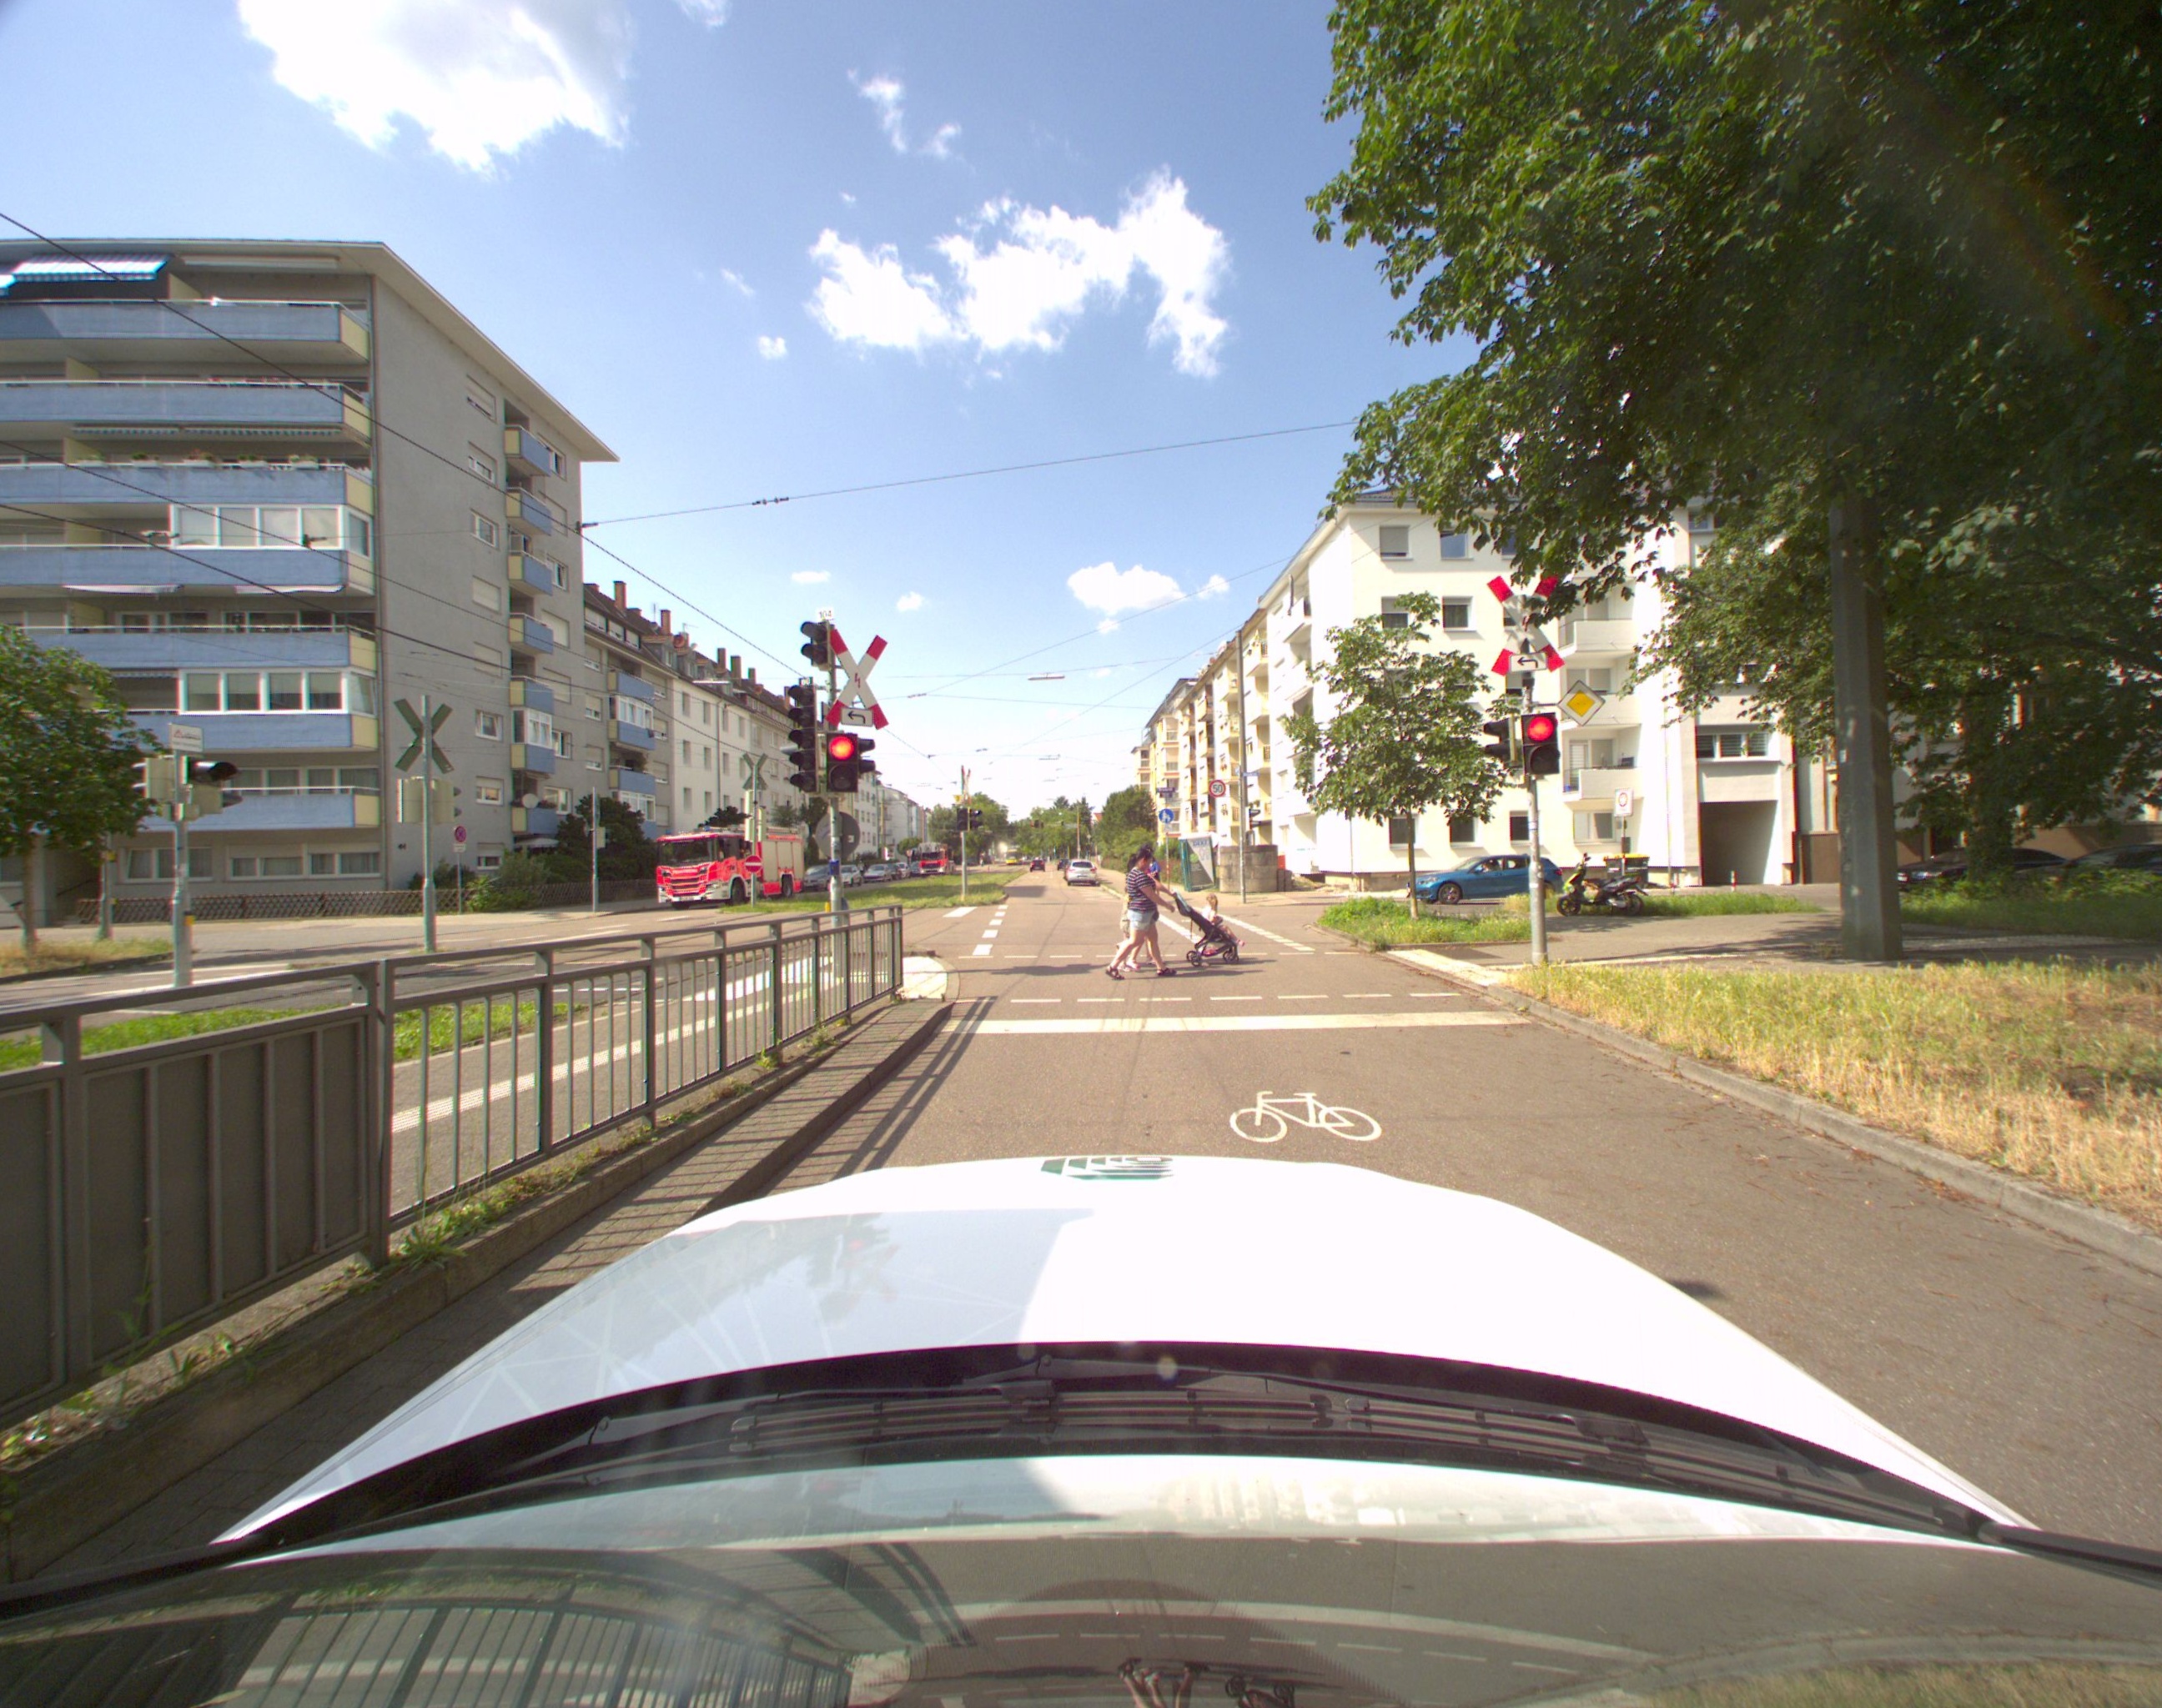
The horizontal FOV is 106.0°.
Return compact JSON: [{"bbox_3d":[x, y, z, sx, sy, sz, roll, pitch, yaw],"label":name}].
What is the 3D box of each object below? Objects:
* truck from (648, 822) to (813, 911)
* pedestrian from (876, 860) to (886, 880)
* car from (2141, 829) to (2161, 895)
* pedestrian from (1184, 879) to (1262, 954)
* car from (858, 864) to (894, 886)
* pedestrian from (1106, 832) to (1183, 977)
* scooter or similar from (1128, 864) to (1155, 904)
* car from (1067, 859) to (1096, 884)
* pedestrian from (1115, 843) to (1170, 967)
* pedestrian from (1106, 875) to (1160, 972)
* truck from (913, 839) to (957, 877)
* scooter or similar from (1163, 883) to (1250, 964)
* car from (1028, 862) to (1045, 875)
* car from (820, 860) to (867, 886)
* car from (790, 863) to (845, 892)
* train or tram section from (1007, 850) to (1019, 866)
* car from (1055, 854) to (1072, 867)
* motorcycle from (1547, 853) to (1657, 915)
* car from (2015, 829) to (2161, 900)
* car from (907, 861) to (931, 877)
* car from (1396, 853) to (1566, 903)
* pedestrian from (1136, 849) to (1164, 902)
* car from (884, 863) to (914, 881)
[{"bbox_3d":[-13.926,0.486,33.327,2.584,3.186,8.392,0,-1,4],"label":"truck"},{"bbox_3d":[-18.710,1.512,76.141,0.703,1.794,0.864,-2,0,-2],"label":"pedestrian"},{"bbox_3d":[26.032,0.170,17.464,1.794,1.539,4.013,-2,0,11],"label":"car"},{"bbox_3d":[4.255,1.818,25.018,1.984,2.014,4.004,0,-1,4],"label":"pedestrian"},{"bbox_3d":[-16.327,1.664,65.019,1.989,1.711,3.996,0,-1,-3],"label":"car"},{"bbox_3d":[0.756,0.590,9.934,0.842,1.667,0.799,-2,-1,1],"label":"pedestrian"},{"bbox_3d":[2.056,1.009,27.651,0.657,1.304,0.872,-2,0,18],"label":"scooter or similar"},{"bbox_3d":[0.022,1.023,48.418,1.617,1.465,3.509,0,-1,-1],"label":"car"},{"bbox_3d":[0.843,0.689,11.247,0.703,1.648,0.637,1,-1,0],"label":"pedestrian"},{"bbox_3d":[0.664,0.886,10.616,0.634,1.180,0.799,-2,-1,1],"label":"pedestrian"},{"bbox_3d":[-14.105,0.437,79.557,2.659,3.471,10.161,0,-1,-1],"label":"truck"},{"bbox_3d":[1.718,0.942,11.233,1.097,1.056,0.650,0,-1,-2],"label":"scooter or similar"},{"bbox_3d":[-5.077,1.628,93.409,1.739,1.507,3.997,0,-1,-1],"label":"car"},{"bbox_3d":[-16.001,1.274,55.094,1.987,1.711,3.999,0,-1,0],"label":"car"},{"bbox_3d":[-15.776,1.387,48.986,1.987,1.645,3.999,0,-1,0],"label":"car"},{"bbox_3d":[-13.727,0.818,165.354,2.254,3.069,8.122,-2,0,-4],"label":"train or tram section"},{"bbox_3d":[-2.167,0.813,100.813,1.735,1.507,4.005,0,-1,5],"label":"car"},{"bbox_3d":[11.043,0.642,17.336,0.574,1.215,1.829,-6,1,-30],"label":"motorcycle"},{"bbox_3d":[23.225,0.207,17.510,1.733,1.459,4.001,-2,0,1],"label":"car"},{"bbox_3d":[-17.047,1.572,85.795,1.905,1.711,3.996,0,-1,-3],"label":"car"},{"bbox_3d":[11.706,0.690,24.028,4.151,1.413,1.781,0,-1,1],"label":"car"},{"bbox_3d":[2.424,0.748,28.403,0.695,1.789,1.035,-2,0,19],"label":"pedestrian"},{"bbox_3d":[-16.884,1.657,75.902,1.988,1.711,3.997,0,-1,-2],"label":"car"}]
